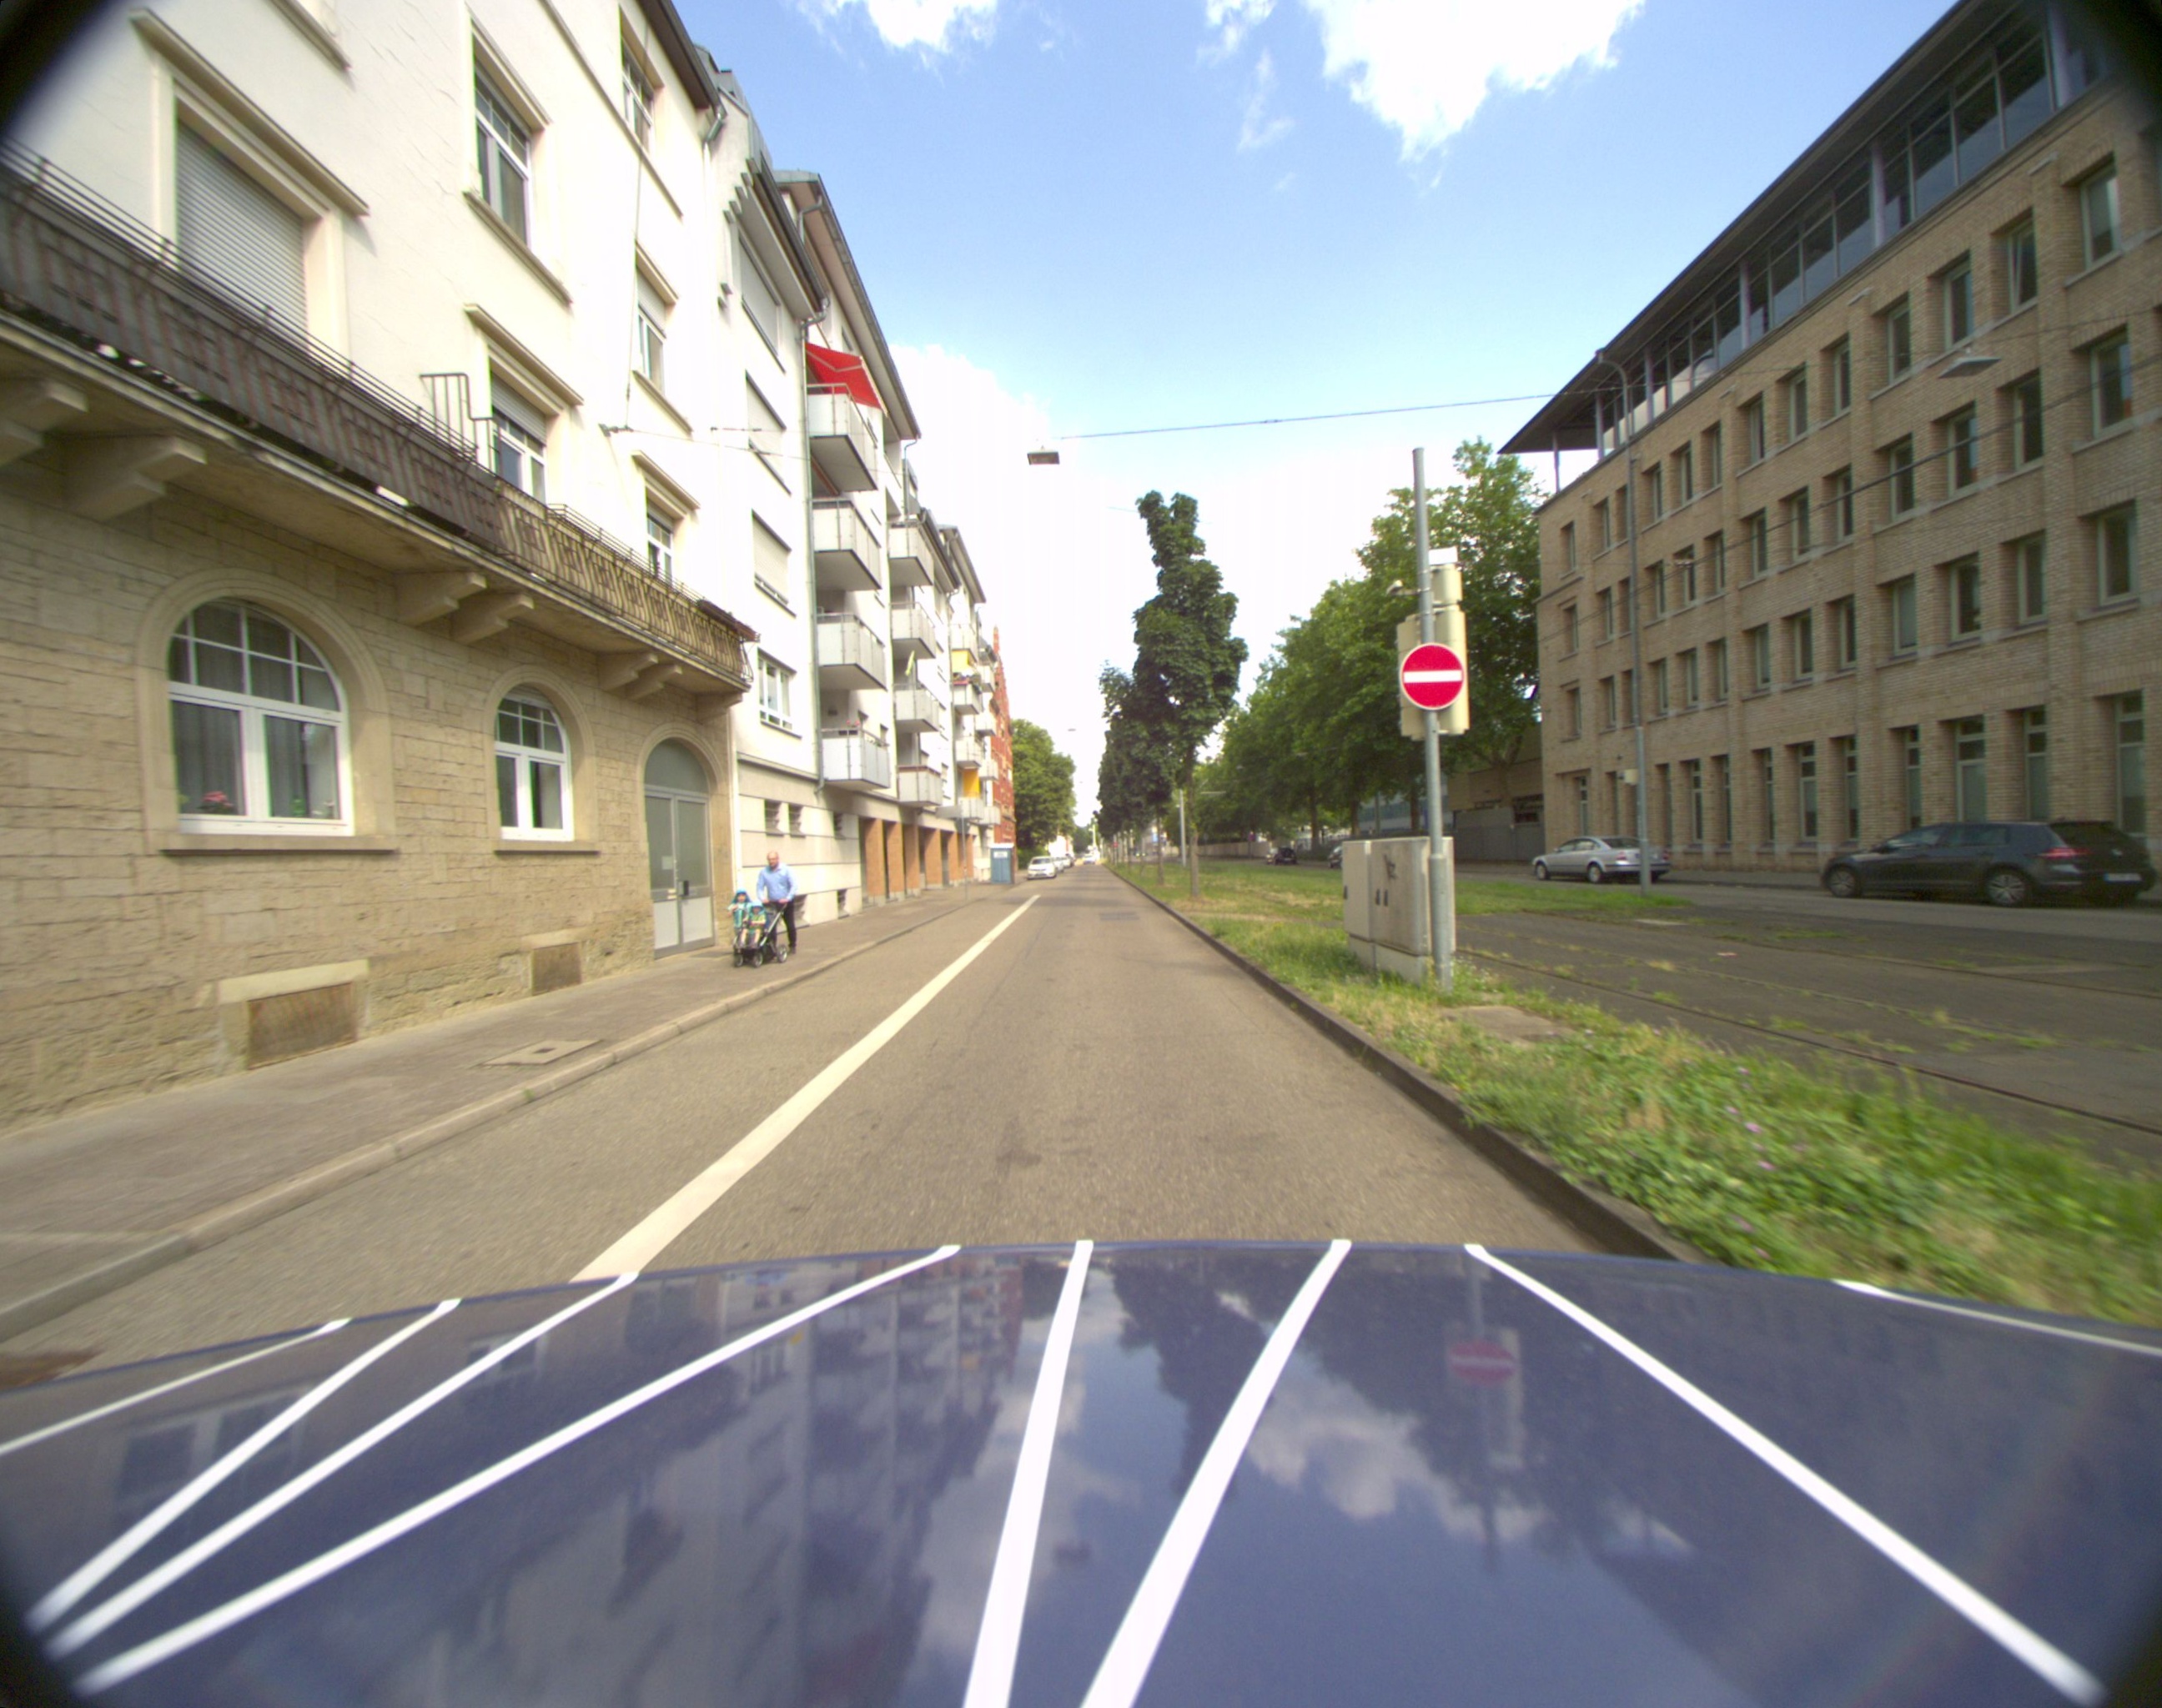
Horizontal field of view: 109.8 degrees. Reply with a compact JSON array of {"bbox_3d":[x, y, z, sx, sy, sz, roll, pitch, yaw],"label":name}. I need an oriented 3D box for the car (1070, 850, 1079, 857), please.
[{"bbox_3d":[-1.447,-0.112,164.571,1.801,1.521,4.040,-5,0,1],"label":"car"}]

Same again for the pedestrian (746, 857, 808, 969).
[{"bbox_3d":[-4.912,0.926,12.325,0.622,1.729,0.877,1,1,2],"label":"pedestrian"}]

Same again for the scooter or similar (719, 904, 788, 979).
[{"bbox_3d":[-4.879,1.282,11.358,0.594,0.996,0.905,2,1,2],"label":"scooter or similar"}]

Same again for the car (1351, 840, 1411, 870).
[{"bbox_3d":[16.097,0.033,40.999,1.807,1.444,4.001,-2,0,4],"label":"car"}]

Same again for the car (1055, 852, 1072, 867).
[{"bbox_3d":[-1.997,0.616,88.550,1.801,1.521,4.040,-5,0,1],"label":"car"}]

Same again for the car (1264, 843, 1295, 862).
[{"bbox_3d":[16.243,-0.124,62.300,1.601,1.455,4.000,-2,0,2],"label":"car"}]

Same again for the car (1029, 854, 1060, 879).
[{"bbox_3d":[-2.444,0.788,51.318,1.801,1.521,4.041,-3,0,1],"label":"car"}]

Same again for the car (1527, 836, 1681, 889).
[{"bbox_3d":[15.851,0.222,23.367,1.719,1.388,4.484,-2,0,2],"label":"car"}]

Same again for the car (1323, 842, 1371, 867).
[{"bbox_3d":[16.205,0.000,46.481,1.558,1.417,3.901,-2,0,1],"label":"car"}]

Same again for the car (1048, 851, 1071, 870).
[{"bbox_3d":[-1.867,0.551,67.222,1.801,1.521,4.040,-3,0,1],"label":"car"}]

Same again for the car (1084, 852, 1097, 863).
[{"bbox_3d":[1.449,0.564,115.088,1.801,1.521,4.040,-3,0,1],"label":"car"}]

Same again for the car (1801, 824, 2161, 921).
[{"bbox_3d":[15.768,0.262,13.522,1.937,1.388,4.239,-2,0,2],"label":"car"}]

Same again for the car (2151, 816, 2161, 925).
[{"bbox_3d":[15.796,0.213,8.892,1.586,1.522,3.549,-2,1,2],"label":"car"}]

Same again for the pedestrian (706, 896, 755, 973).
[{"bbox_3d":[-5.444,1.235,11.819,0.457,1.128,0.494,-2,1,2],"label":"pedestrian"}]
